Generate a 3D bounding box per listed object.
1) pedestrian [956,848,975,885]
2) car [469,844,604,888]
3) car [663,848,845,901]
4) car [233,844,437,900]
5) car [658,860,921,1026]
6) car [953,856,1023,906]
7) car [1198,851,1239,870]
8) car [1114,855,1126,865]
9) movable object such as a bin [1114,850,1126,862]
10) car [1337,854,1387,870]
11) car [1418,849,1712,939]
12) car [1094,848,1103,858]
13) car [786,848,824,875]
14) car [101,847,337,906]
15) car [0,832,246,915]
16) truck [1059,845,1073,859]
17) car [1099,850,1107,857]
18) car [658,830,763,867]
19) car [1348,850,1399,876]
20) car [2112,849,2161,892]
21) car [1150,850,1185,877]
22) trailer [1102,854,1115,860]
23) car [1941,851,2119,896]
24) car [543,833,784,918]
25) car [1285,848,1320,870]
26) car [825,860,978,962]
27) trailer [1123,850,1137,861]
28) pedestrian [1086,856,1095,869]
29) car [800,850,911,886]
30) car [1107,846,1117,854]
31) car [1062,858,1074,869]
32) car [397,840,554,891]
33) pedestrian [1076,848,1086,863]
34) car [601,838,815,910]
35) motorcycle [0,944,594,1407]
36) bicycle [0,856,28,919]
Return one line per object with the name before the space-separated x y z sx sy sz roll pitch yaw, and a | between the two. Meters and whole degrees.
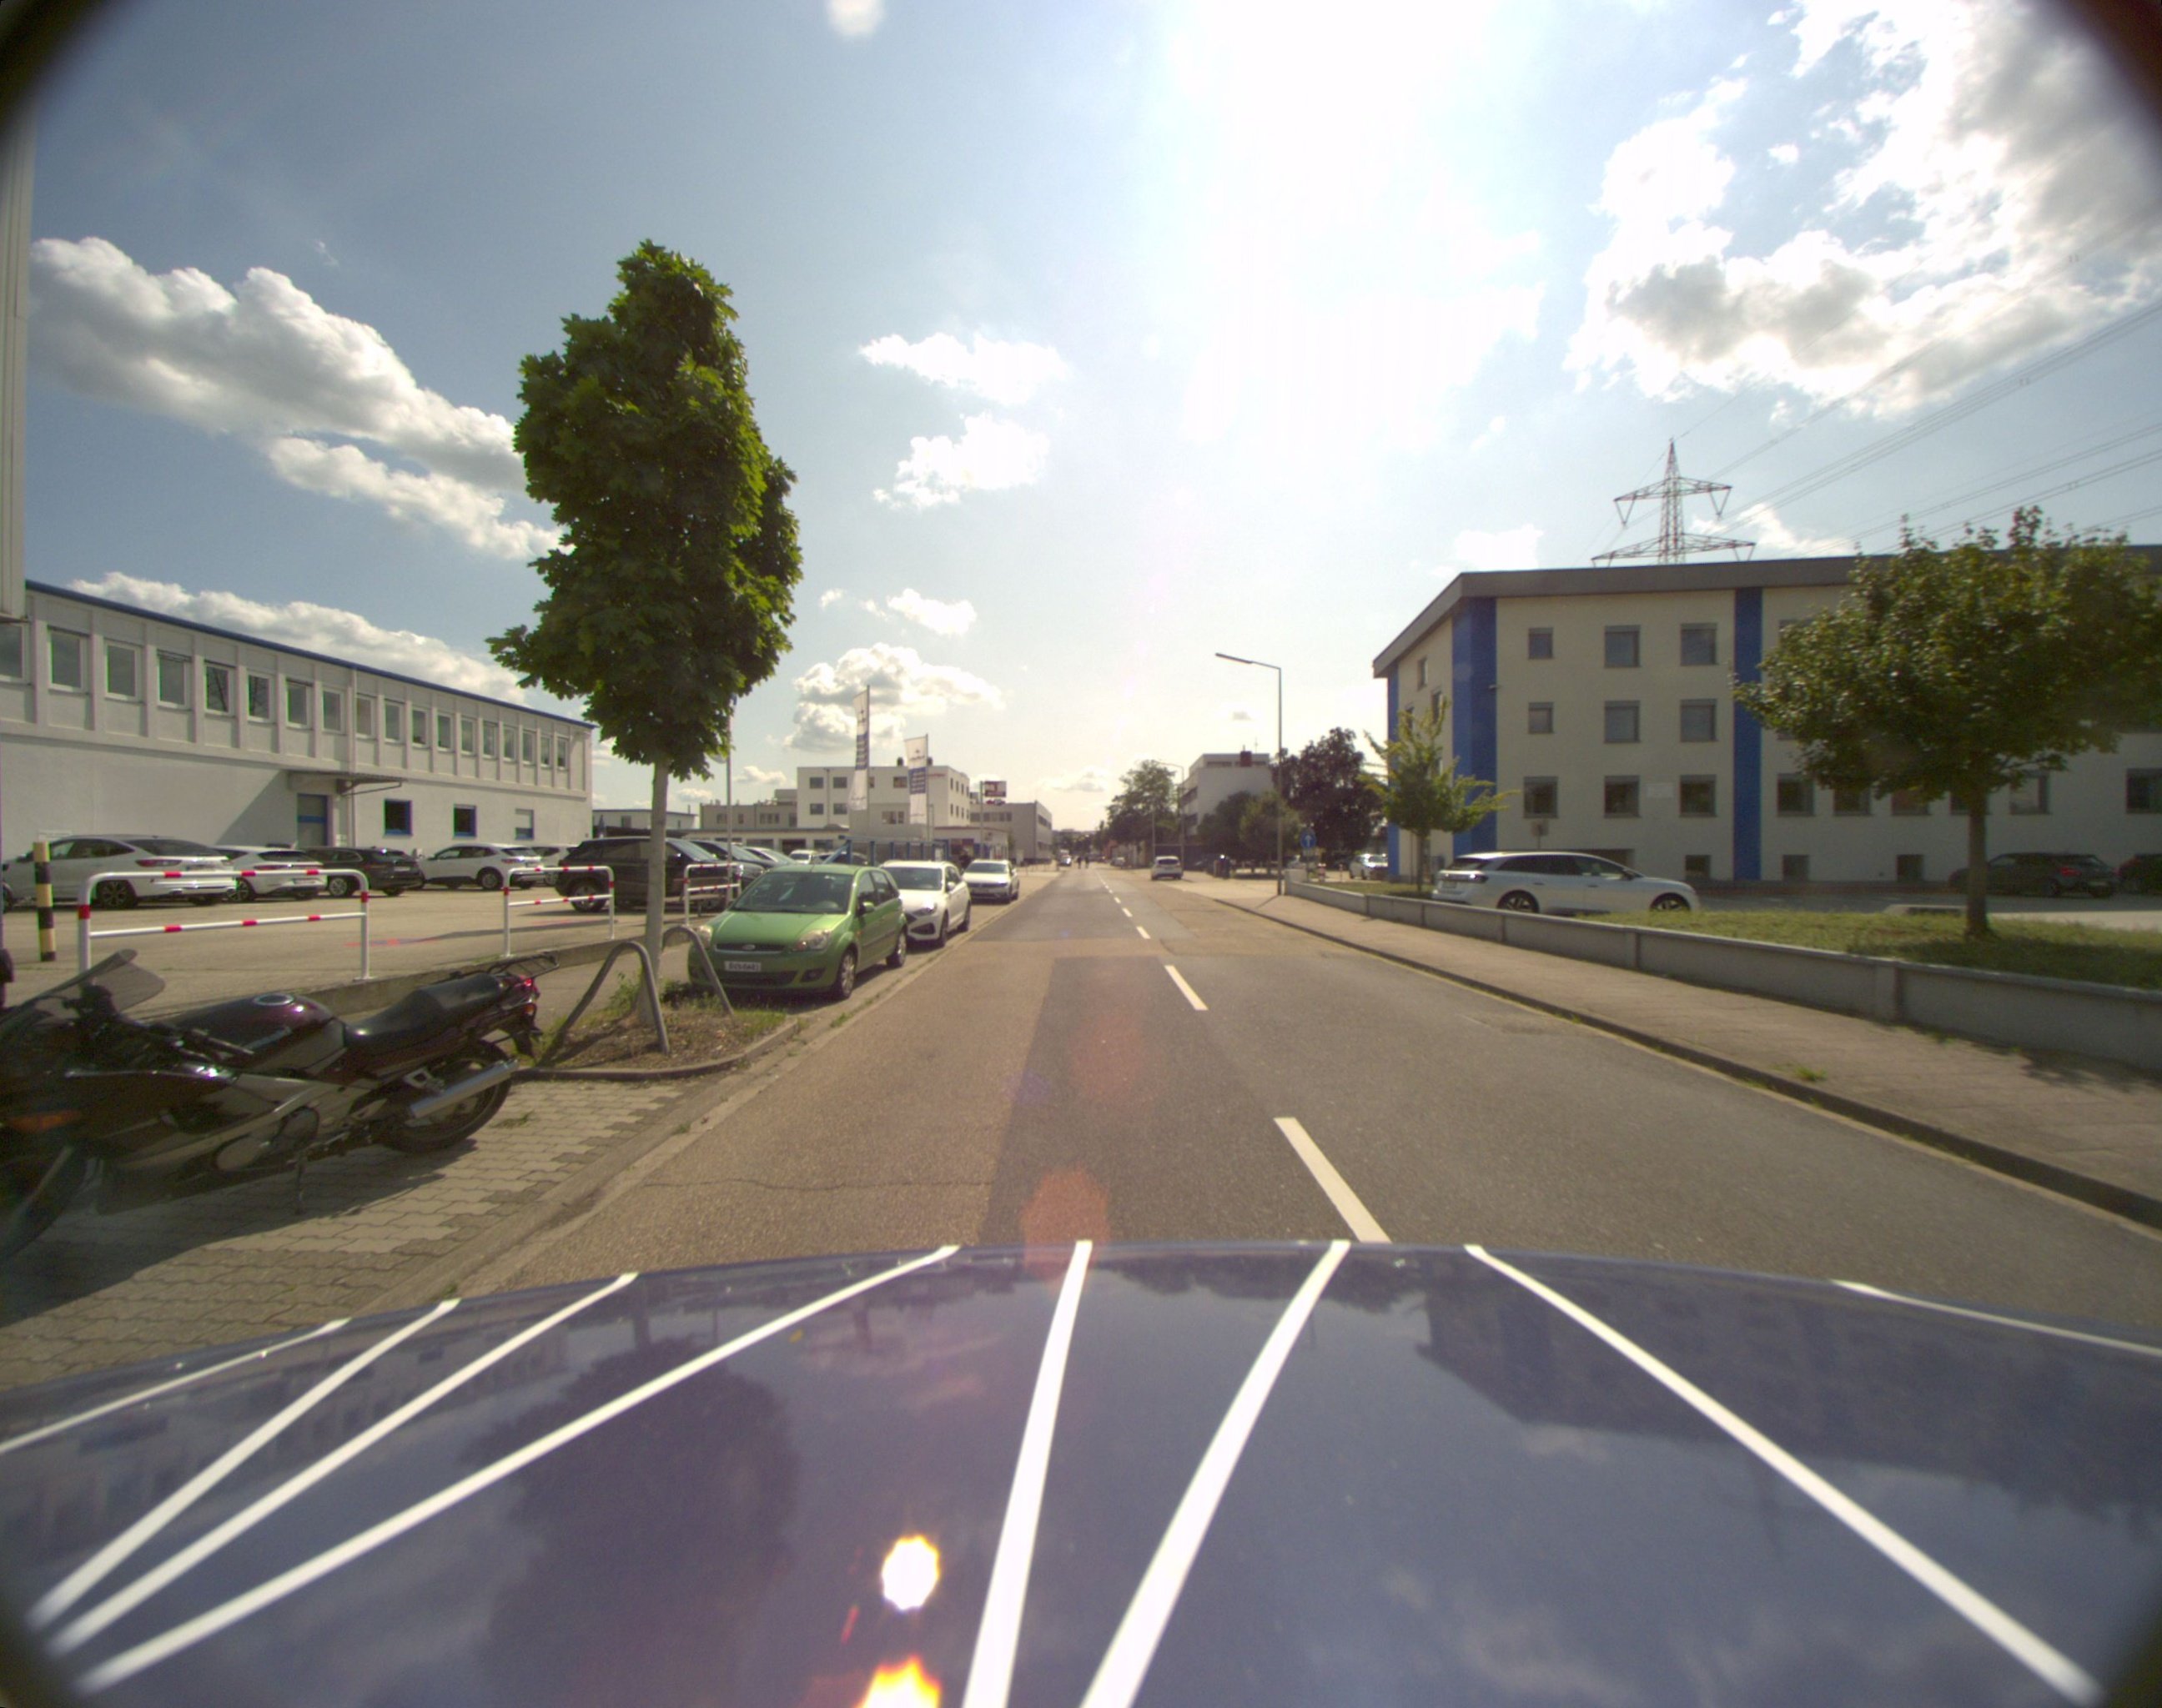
pedestrian | -5.542 0.603 36.553 0.771 1.746 0.787 1 2 0
car | -21.519 0.448 30.139 3.997 1.621 1.806 -1 1 0
car | -9.213 0.552 21.650 4.290 1.412 2.000 0 1 1
car | -21.677 0.496 22.214 3.997 1.499 1.934 -1 1 0
car | -3.321 0.900 9.551 1.673 1.512 3.994 -2 1 1
car | -3.219 0.895 27.137 1.872 1.512 4.597 -2 1 0
car | 13.306 0.633 73.706 3.657 1.699 1.878 -1 1 0
car | 6.408 1.043 125.699 1.677 1.447 4.513 -3 1 1
movable object such as a bin | 6.716 0.262 132.200 1.618 1.908 5.137 -5 1 0
car | 27.048 0.727 73.303 4.207 1.493 1.681 0 1 5
car | 9.787 0.769 15.664 4.766 1.593 2.000 -2 1 1
car | 5.011 -0.373 218.453 2.079 2.527 5.822 -4 1 -2
car | -19.370 0.477 53.448 1.692 1.796 4.274 -1 1 -9
car | -22.102 0.552 19.603 3.997 1.391 1.806 -1 1 0
car | -21.897 0.408 17.151 4.067 1.730 1.806 -1 1 0
truck | -3.688 -0.584 186.220 2.608 3.207 8.073 -4 1 -5
car | 5.458 -0.059 187.008 1.714 1.459 4.628 -4 1 -1
car | -20.745 -0.302 42.667 4.690 1.925 2.276 -1 1 2
car | 17.838 0.522 46.573 1.877 1.498 3.758 -1 1 3
car | 36.416 0.596 24.455 1.565 1.368 3.680 -1 2 5
car | 6.092 0.652 53.928 1.872 1.698 4.752 -2 1 0
trailer | 6.096 0.713 168.265 2.457 1.157 6.051 -3 1 0
car | 31.908 0.619 25.725 1.565 1.368 3.681 -1 1 5
car | -8.971 0.439 16.626 4.094 1.676 1.999 -1 1 -1
car | 17.640 0.381 60.759 1.828 1.627 4.846 0 1 5
car | -3.249 0.954 14.700 1.840 1.512 4.460 -2 1 0
trailer | 6.993 0.227 109.210 1.771 1.431 4.335 -4 1 1
pedestrian | 1.244 1.119 102.076 0.860 1.797 1.003 -1 1 -22
car | -9.331 0.556 31.634 3.997 1.412 2.000 0 1 1
car | 5.991 -0.767 147.063 1.677 1.447 4.223 -3 1 0
car | -2.145 1.553 125.020 1.663 1.549 4.177 -4 1 1
car | -21.462 0.393 27.057 3.997 1.692 1.934 -1 1 0
pedestrian | 0.011 0.195 101.907 0.994 1.940 1.089 -1 1 -22
car | -9.170 0.456 19.010 4.237 1.637 2.147 -1 1 -1
motorcycle | -3.551 1.147 3.273 0.856 1.194 2.366 0 1 21
bicycle | -21.728 0.662 14.532 2.229 1.205 0.641 -1 1 0
